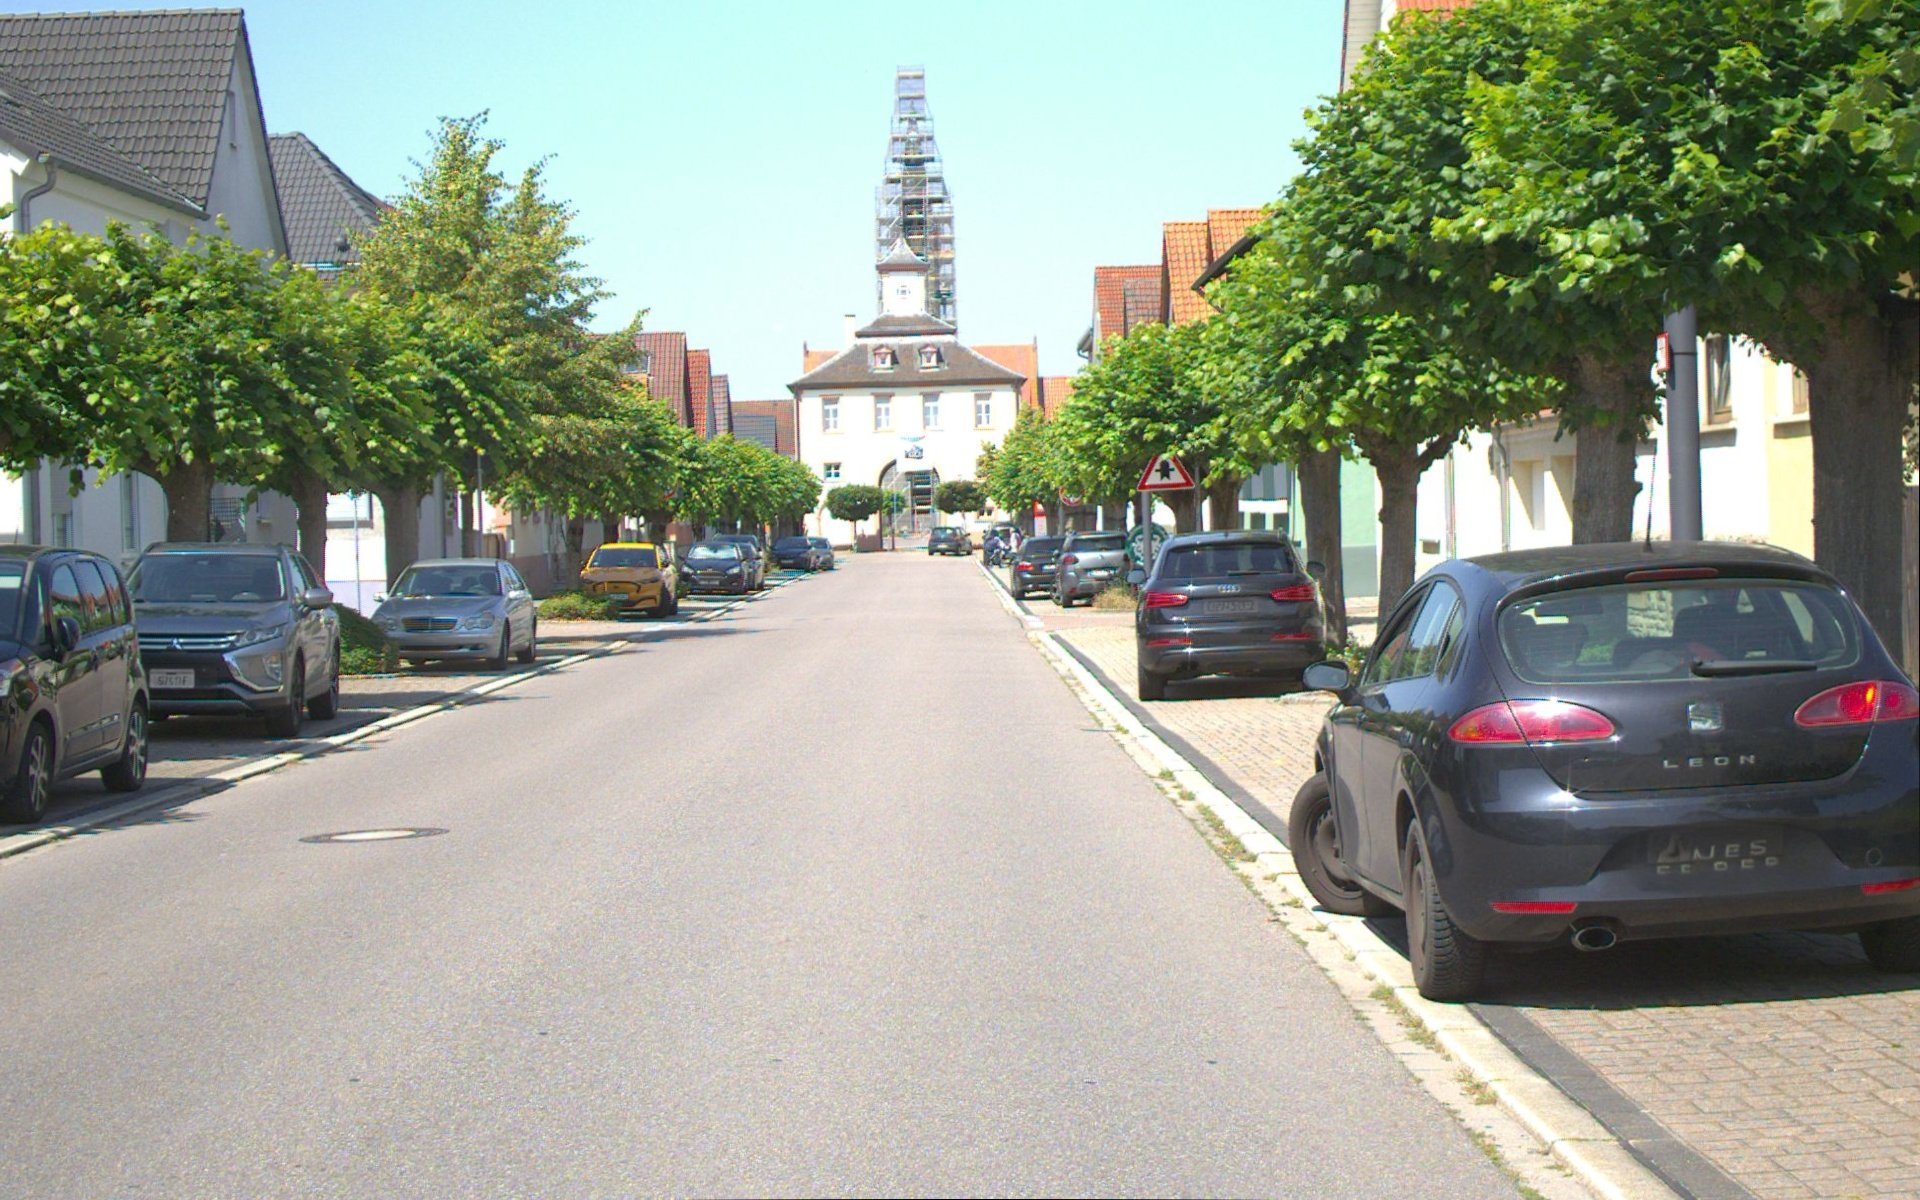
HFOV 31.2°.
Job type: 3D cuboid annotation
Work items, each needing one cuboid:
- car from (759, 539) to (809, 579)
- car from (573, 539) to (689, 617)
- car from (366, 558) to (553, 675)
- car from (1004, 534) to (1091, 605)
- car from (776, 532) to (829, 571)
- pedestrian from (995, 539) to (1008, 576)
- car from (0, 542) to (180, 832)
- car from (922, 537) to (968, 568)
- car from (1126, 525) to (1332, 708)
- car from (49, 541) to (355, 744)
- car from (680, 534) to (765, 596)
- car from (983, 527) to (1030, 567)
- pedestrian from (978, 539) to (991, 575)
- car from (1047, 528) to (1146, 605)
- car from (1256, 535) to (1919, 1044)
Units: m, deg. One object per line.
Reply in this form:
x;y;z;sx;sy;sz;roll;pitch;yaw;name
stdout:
-7.093;-1.679;138.955;1.757;1.550;4.020;-1;1;0;car
-7.053;-0.496;74.082;1.993;1.606;4.689;0;1;1;car
-6.450;0.178;44.727;1.840;1.391;4.407;-1;1;-1;car
2.044;-0.754;81.753;1.837;1.550;4.314;-3;1;-1;car
-6.621;-2.037;144.692;1.993;1.606;3.855;0;0;1;car
1.586;-1.638;131.467;0.358;1.398;0.319;-1;1;37;pedestrian
-6.218;0.463;21.330;1.853;1.629;4.057;0;1;0;car
-0.752;-2.417;176.309;1.730;1.542;3.454;1;0;10;car
2.602;0.107;33.681;1.824;1.580;4.056;-3;1;4;car
-6.580;0.312;30.290;1.993;1.647;4.368;0;1;-4;car
-6.599;-0.991;96.059;1.993;1.606;4.689;1;2;1;car
1.942;-2.235;144.593;1.837;1.550;4.314;-3;1;0;car
0.944;-1.641;131.201;0.358;1.398;0.319;-1;1;37;pedestrian
2.911;-0.742;74.125;1.837;1.602;4.000;-1;1;-2;car
2.218;0.541;12.501;1.824;1.427;4.057;-3;1;0;car
